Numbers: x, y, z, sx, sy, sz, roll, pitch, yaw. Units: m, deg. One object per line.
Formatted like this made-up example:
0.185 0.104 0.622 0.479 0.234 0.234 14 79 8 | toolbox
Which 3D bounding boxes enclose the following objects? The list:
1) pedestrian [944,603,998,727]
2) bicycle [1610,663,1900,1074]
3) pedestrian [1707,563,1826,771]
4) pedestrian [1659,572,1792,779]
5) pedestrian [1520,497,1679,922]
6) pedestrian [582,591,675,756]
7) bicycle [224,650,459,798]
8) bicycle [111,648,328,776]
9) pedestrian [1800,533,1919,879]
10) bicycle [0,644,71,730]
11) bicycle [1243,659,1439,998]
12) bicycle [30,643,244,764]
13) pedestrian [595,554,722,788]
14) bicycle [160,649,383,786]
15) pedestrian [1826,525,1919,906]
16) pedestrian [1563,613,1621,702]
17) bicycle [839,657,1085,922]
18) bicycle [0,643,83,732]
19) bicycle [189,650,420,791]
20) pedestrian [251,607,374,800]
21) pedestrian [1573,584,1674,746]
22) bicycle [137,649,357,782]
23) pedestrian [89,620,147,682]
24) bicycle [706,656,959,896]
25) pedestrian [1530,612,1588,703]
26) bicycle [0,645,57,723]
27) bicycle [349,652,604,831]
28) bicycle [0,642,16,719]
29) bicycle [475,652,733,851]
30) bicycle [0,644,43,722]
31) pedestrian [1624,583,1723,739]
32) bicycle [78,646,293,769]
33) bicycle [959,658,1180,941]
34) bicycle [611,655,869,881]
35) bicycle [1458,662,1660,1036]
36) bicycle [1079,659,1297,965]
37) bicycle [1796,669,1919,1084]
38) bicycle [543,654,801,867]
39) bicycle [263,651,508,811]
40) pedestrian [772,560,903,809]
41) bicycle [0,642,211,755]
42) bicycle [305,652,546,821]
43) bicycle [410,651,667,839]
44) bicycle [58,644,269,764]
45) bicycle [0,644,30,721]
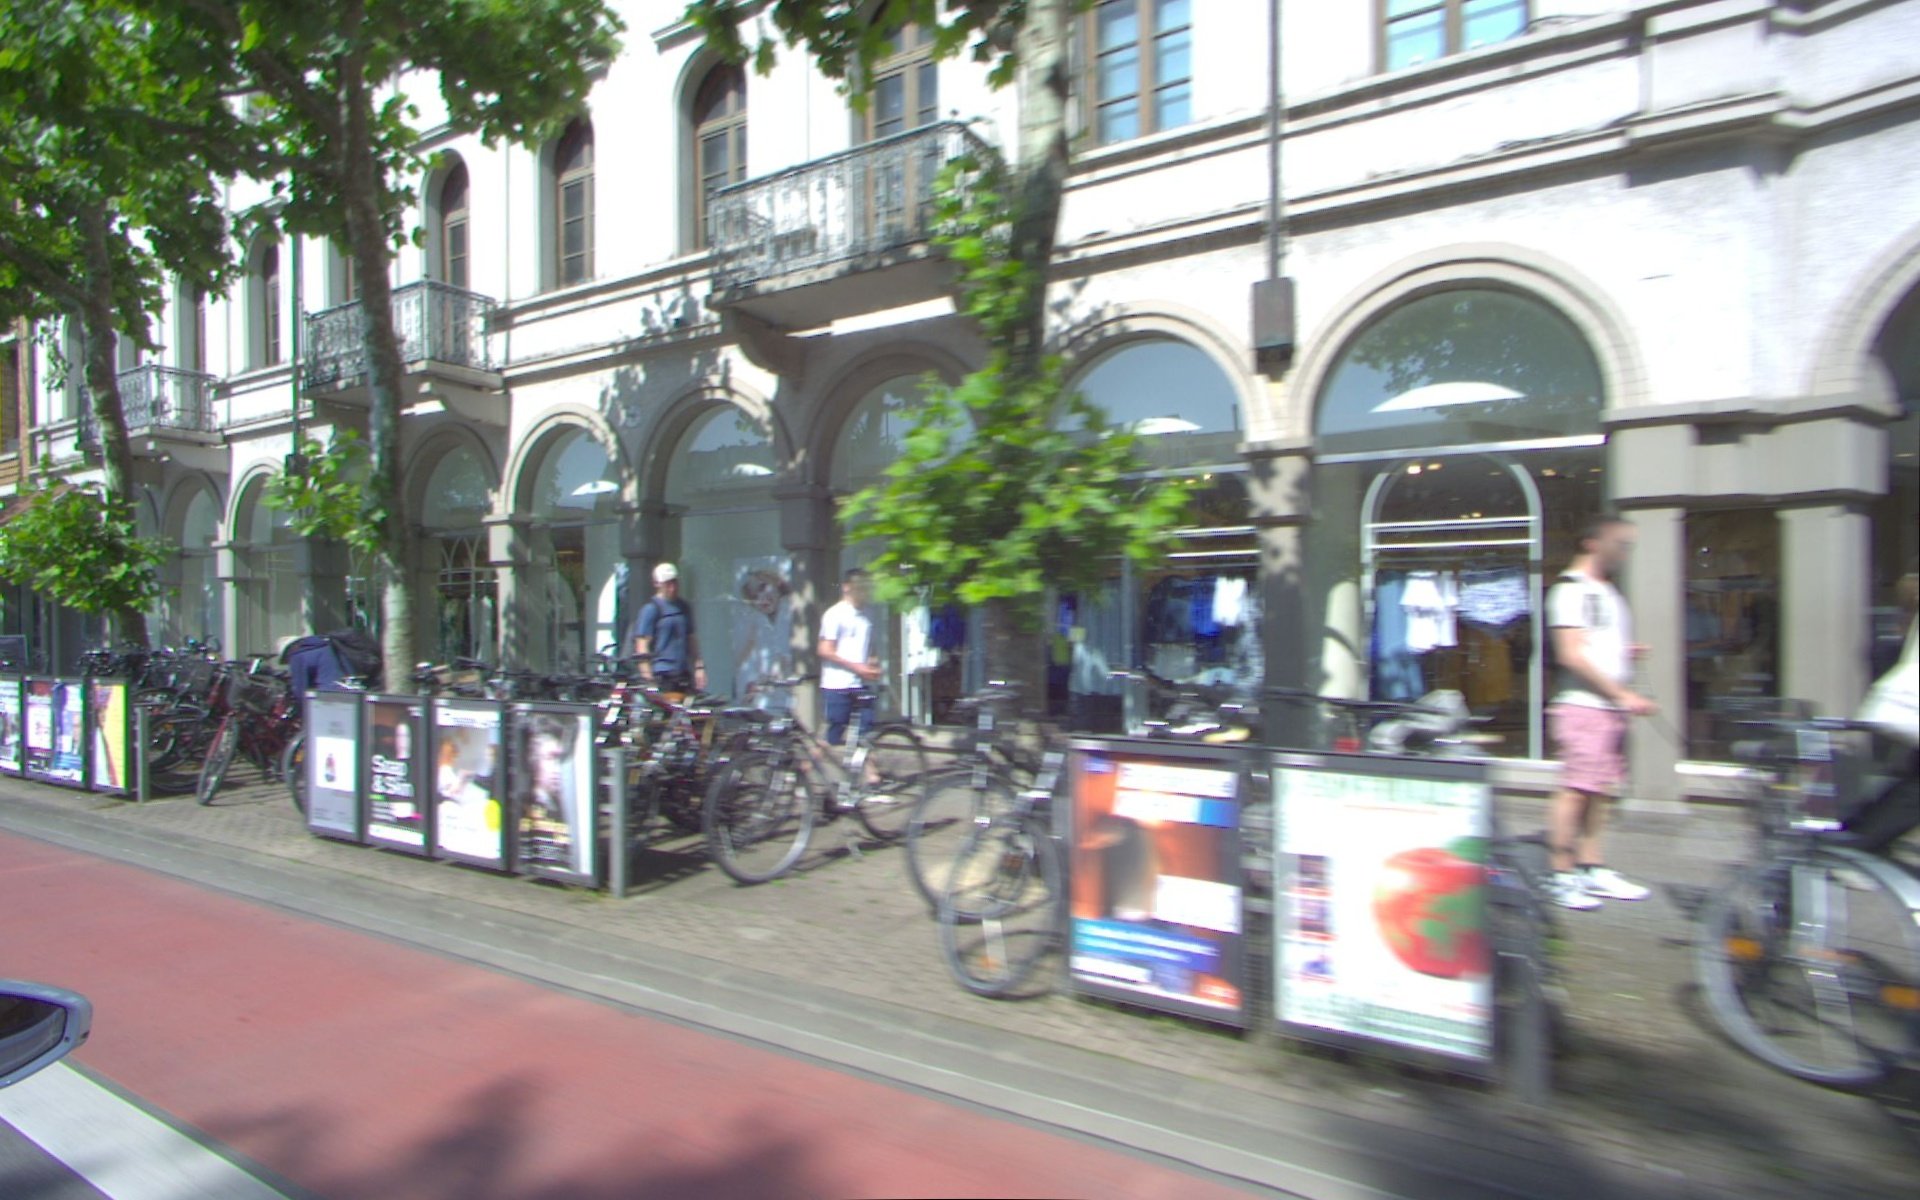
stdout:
0.149 0.833 12.877 0.530 1.552 0.503 0 -2 24 | pedestrian
2.980 0.863 3.922 0.583 1.173 1.751 -1 -1 29 | bicycle
7.241 0.595 9.002 0.612 1.786 0.605 2 -2 -25 | pedestrian
6.595 0.641 8.643 0.612 1.689 0.685 2 -2 -25 | pedestrian
3.087 0.505 4.885 0.593 1.905 0.545 -1 -2 29 | pedestrian
-3.603 0.784 10.904 0.666 1.717 0.656 -1 -3 32 | pedestrian
-5.507 1.053 9.034 0.583 1.162 1.751 -1 -1 29 | bicycle
-7.505 1.086 10.242 0.475 1.162 1.751 -1 -1 29 | bicycle
5.230 0.567 5.516 0.765 1.804 0.719 -1 -2 29 | pedestrian
-13.248 1.185 13.563 0.475 1.162 1.751 -1 -1 29 | bicycle
1.774 0.873 4.504 0.583 1.162 1.751 -1 -1 29 | bicycle
-9.107 1.100 11.172 0.475 1.209 1.798 -1 -1 29 | bicycle
-2.629 0.607 8.763 0.765 1.926 0.700 -1 -2 29 | pedestrian
-6.571 1.076 9.668 0.475 1.162 1.751 -1 -1 29 | bicycle
4.783 0.547 4.845 0.742 1.762 0.674 -1 -2 29 | pedestrian
10.547 0.960 16.728 0.610 1.462 0.579 0 -2 6 | pedestrian
0.089 0.921 5.500 0.589 1.162 1.751 -1 -1 29 | bicycle
-12.780 1.156 13.225 0.475 1.162 1.751 -1 -1 29 | bicycle
-6.086 1.066 9.403 0.583 1.162 1.751 -1 -1 29 | bicycle
-5.493 0.854 8.505 0.657 1.557 0.604 -1 -2 29 | pedestrian
7.191 0.703 10.874 0.612 1.689 0.685 2 -2 -25 | pedestrian
-7.003 1.086 9.934 0.475 1.162 1.751 -1 -1 29 | bicycle
-17.543 1.060 20.878 0.715 1.267 0.591 1 -2 -15 | pedestrian
-0.682 0.939 5.971 0.583 1.162 1.751 -1 -1 29 | bicycle
9.857 0.941 16.497 0.610 1.462 0.579 0 -2 6 | pedestrian
-13.711 1.171 13.856 0.475 1.082 1.751 -1 -2 29 | bicycle
-3.616 1.002 7.654 0.583 1.162 1.751 -1 -1 29 | bicycle
-15.006 1.206 14.599 0.475 1.162 1.751 -1 -1 29 | bicycle
-2.394 0.960 6.962 0.583 1.162 1.751 -1 -1 29 | bicycle
-14.139 1.191 14.107 0.475 1.101 1.751 -1 -2 29 | bicycle
8.044 0.682 11.303 0.612 1.689 0.685 2 -2 -25 | pedestrian
-8.074 1.074 10.535 0.475 1.162 1.751 -1 -1 29 | bicycle
0.640 0.910 5.202 0.510 1.162 1.751 -1 -1 29 | bicycle
-1.298 0.952 6.282 0.583 1.162 1.751 -1 -1 29 | bicycle
2.454 0.872 4.195 0.583 1.162 1.751 -1 -1 29 | bicycle
1.185 0.899 4.909 0.583 1.162 1.751 -1 -1 29 | bicycle
3.289 0.840 3.214 0.583 1.162 1.751 -1 -1 29 | bicycle
-1.824 0.963 6.617 0.583 1.162 1.751 -1 -1 29 | bicycle
-4.758 1.031 8.432 0.583 1.162 1.751 -1 -1 29 | bicycle
-0.945 0.637 7.783 0.765 1.815 0.633 -1 -2 29 | pedestrian
-9.635 1.071 11.378 0.475 1.162 1.772 -1 -1 29 | bicycle
-4.199 1.016 8.001 0.511 1.162 1.701 -1 -1 29 | bicycle
-2.985 0.968 7.282 0.583 1.162 1.751 -1 -1 29 | bicycle
-8.567 1.074 10.858 0.475 1.162 1.751 -1 -1 29 | bicycle
-14.569 1.203 14.350 0.475 1.119 1.751 -1 -1 29 | bicycle
